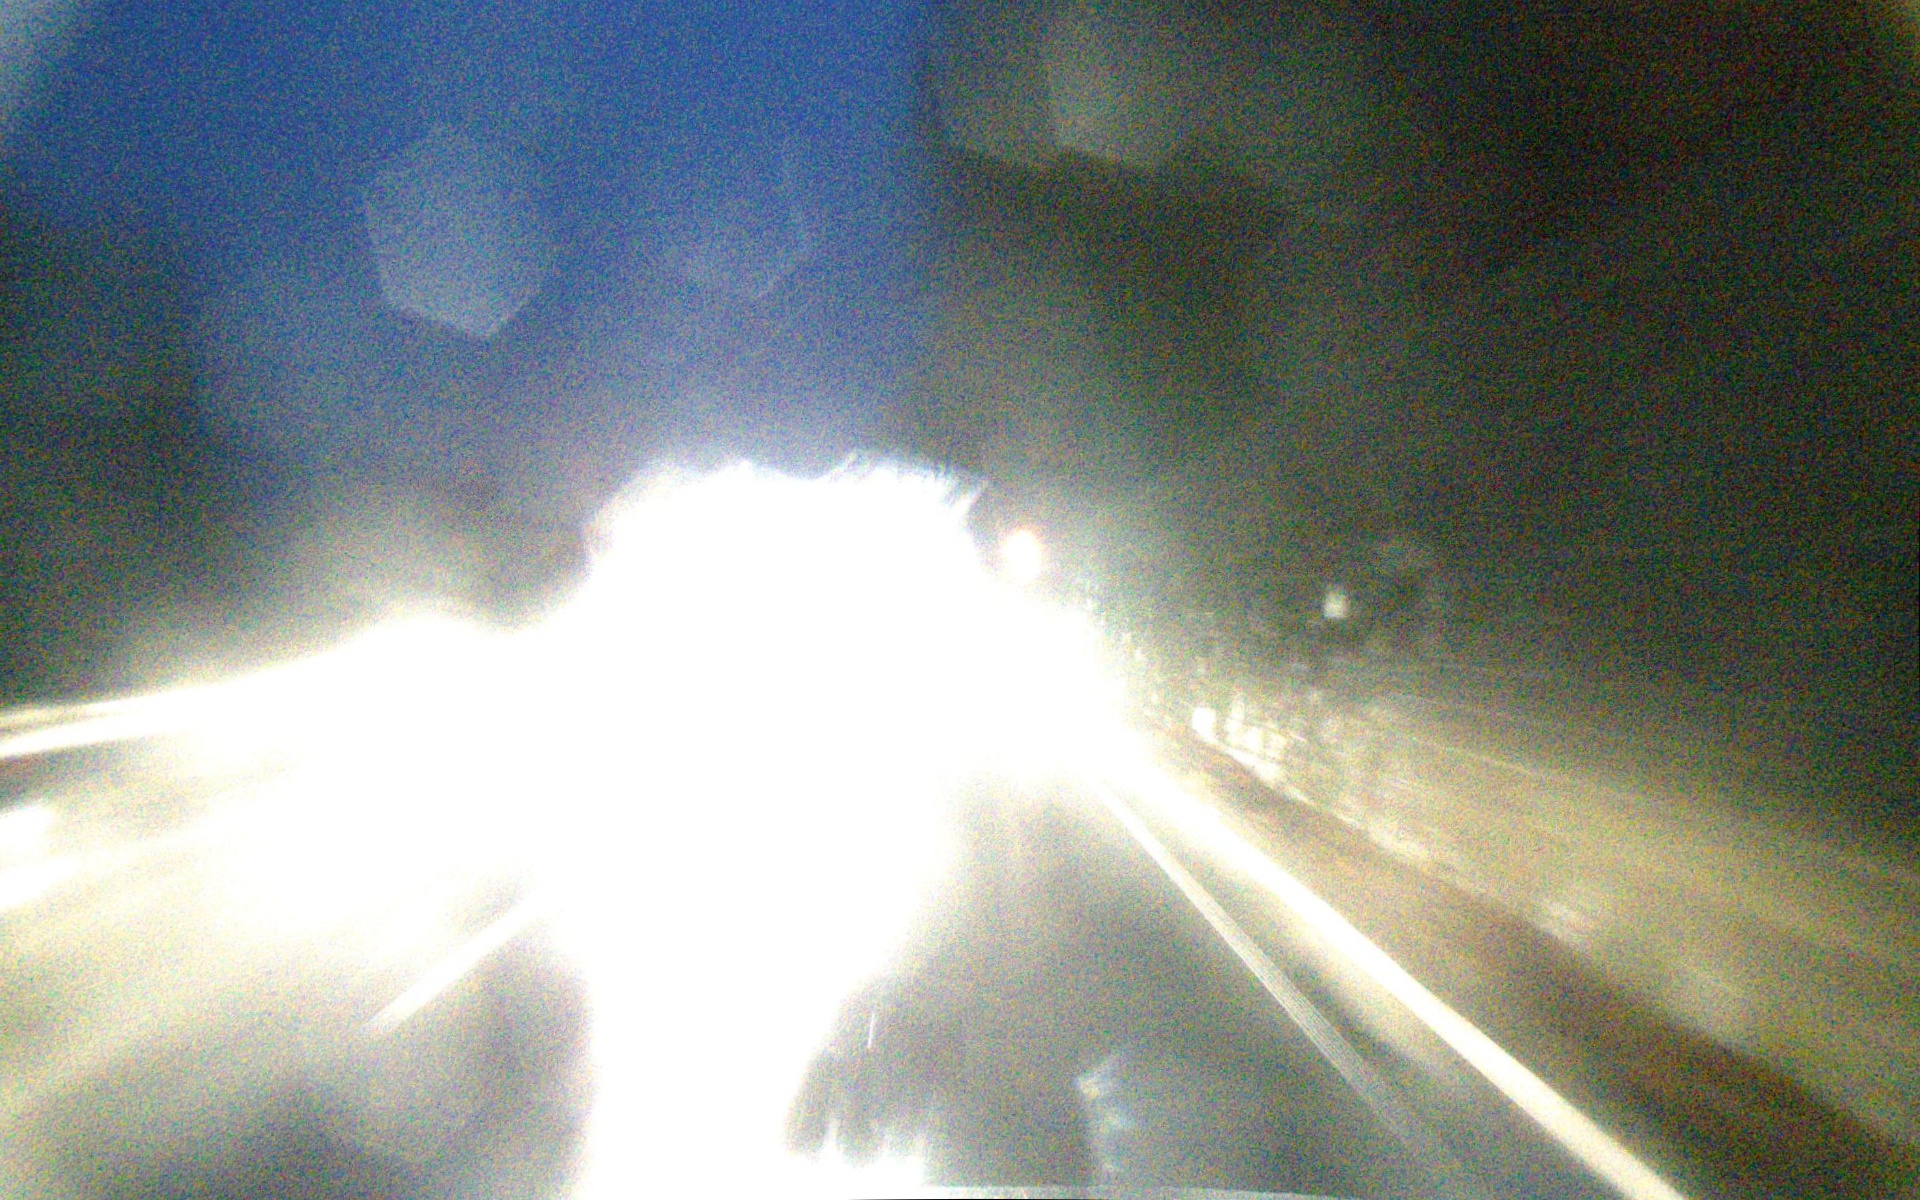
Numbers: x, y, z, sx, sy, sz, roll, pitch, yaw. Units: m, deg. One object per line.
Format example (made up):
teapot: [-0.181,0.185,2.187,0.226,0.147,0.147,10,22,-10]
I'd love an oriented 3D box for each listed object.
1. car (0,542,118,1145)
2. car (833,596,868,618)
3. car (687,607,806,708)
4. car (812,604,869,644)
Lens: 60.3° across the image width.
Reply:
car: [-3.386,0.655,2.721,1.793,1.582,4.440,0,0,-1]
car: [-7.582,0.506,114.724,1.934,1.487,4.283,0,-1,2]
car: [-3.642,0.939,28.788,1.681,1.581,3.998,-1,0,-2]
car: [-4.619,0.946,64.492,1.953,1.523,4.355,0,-1,-1]
